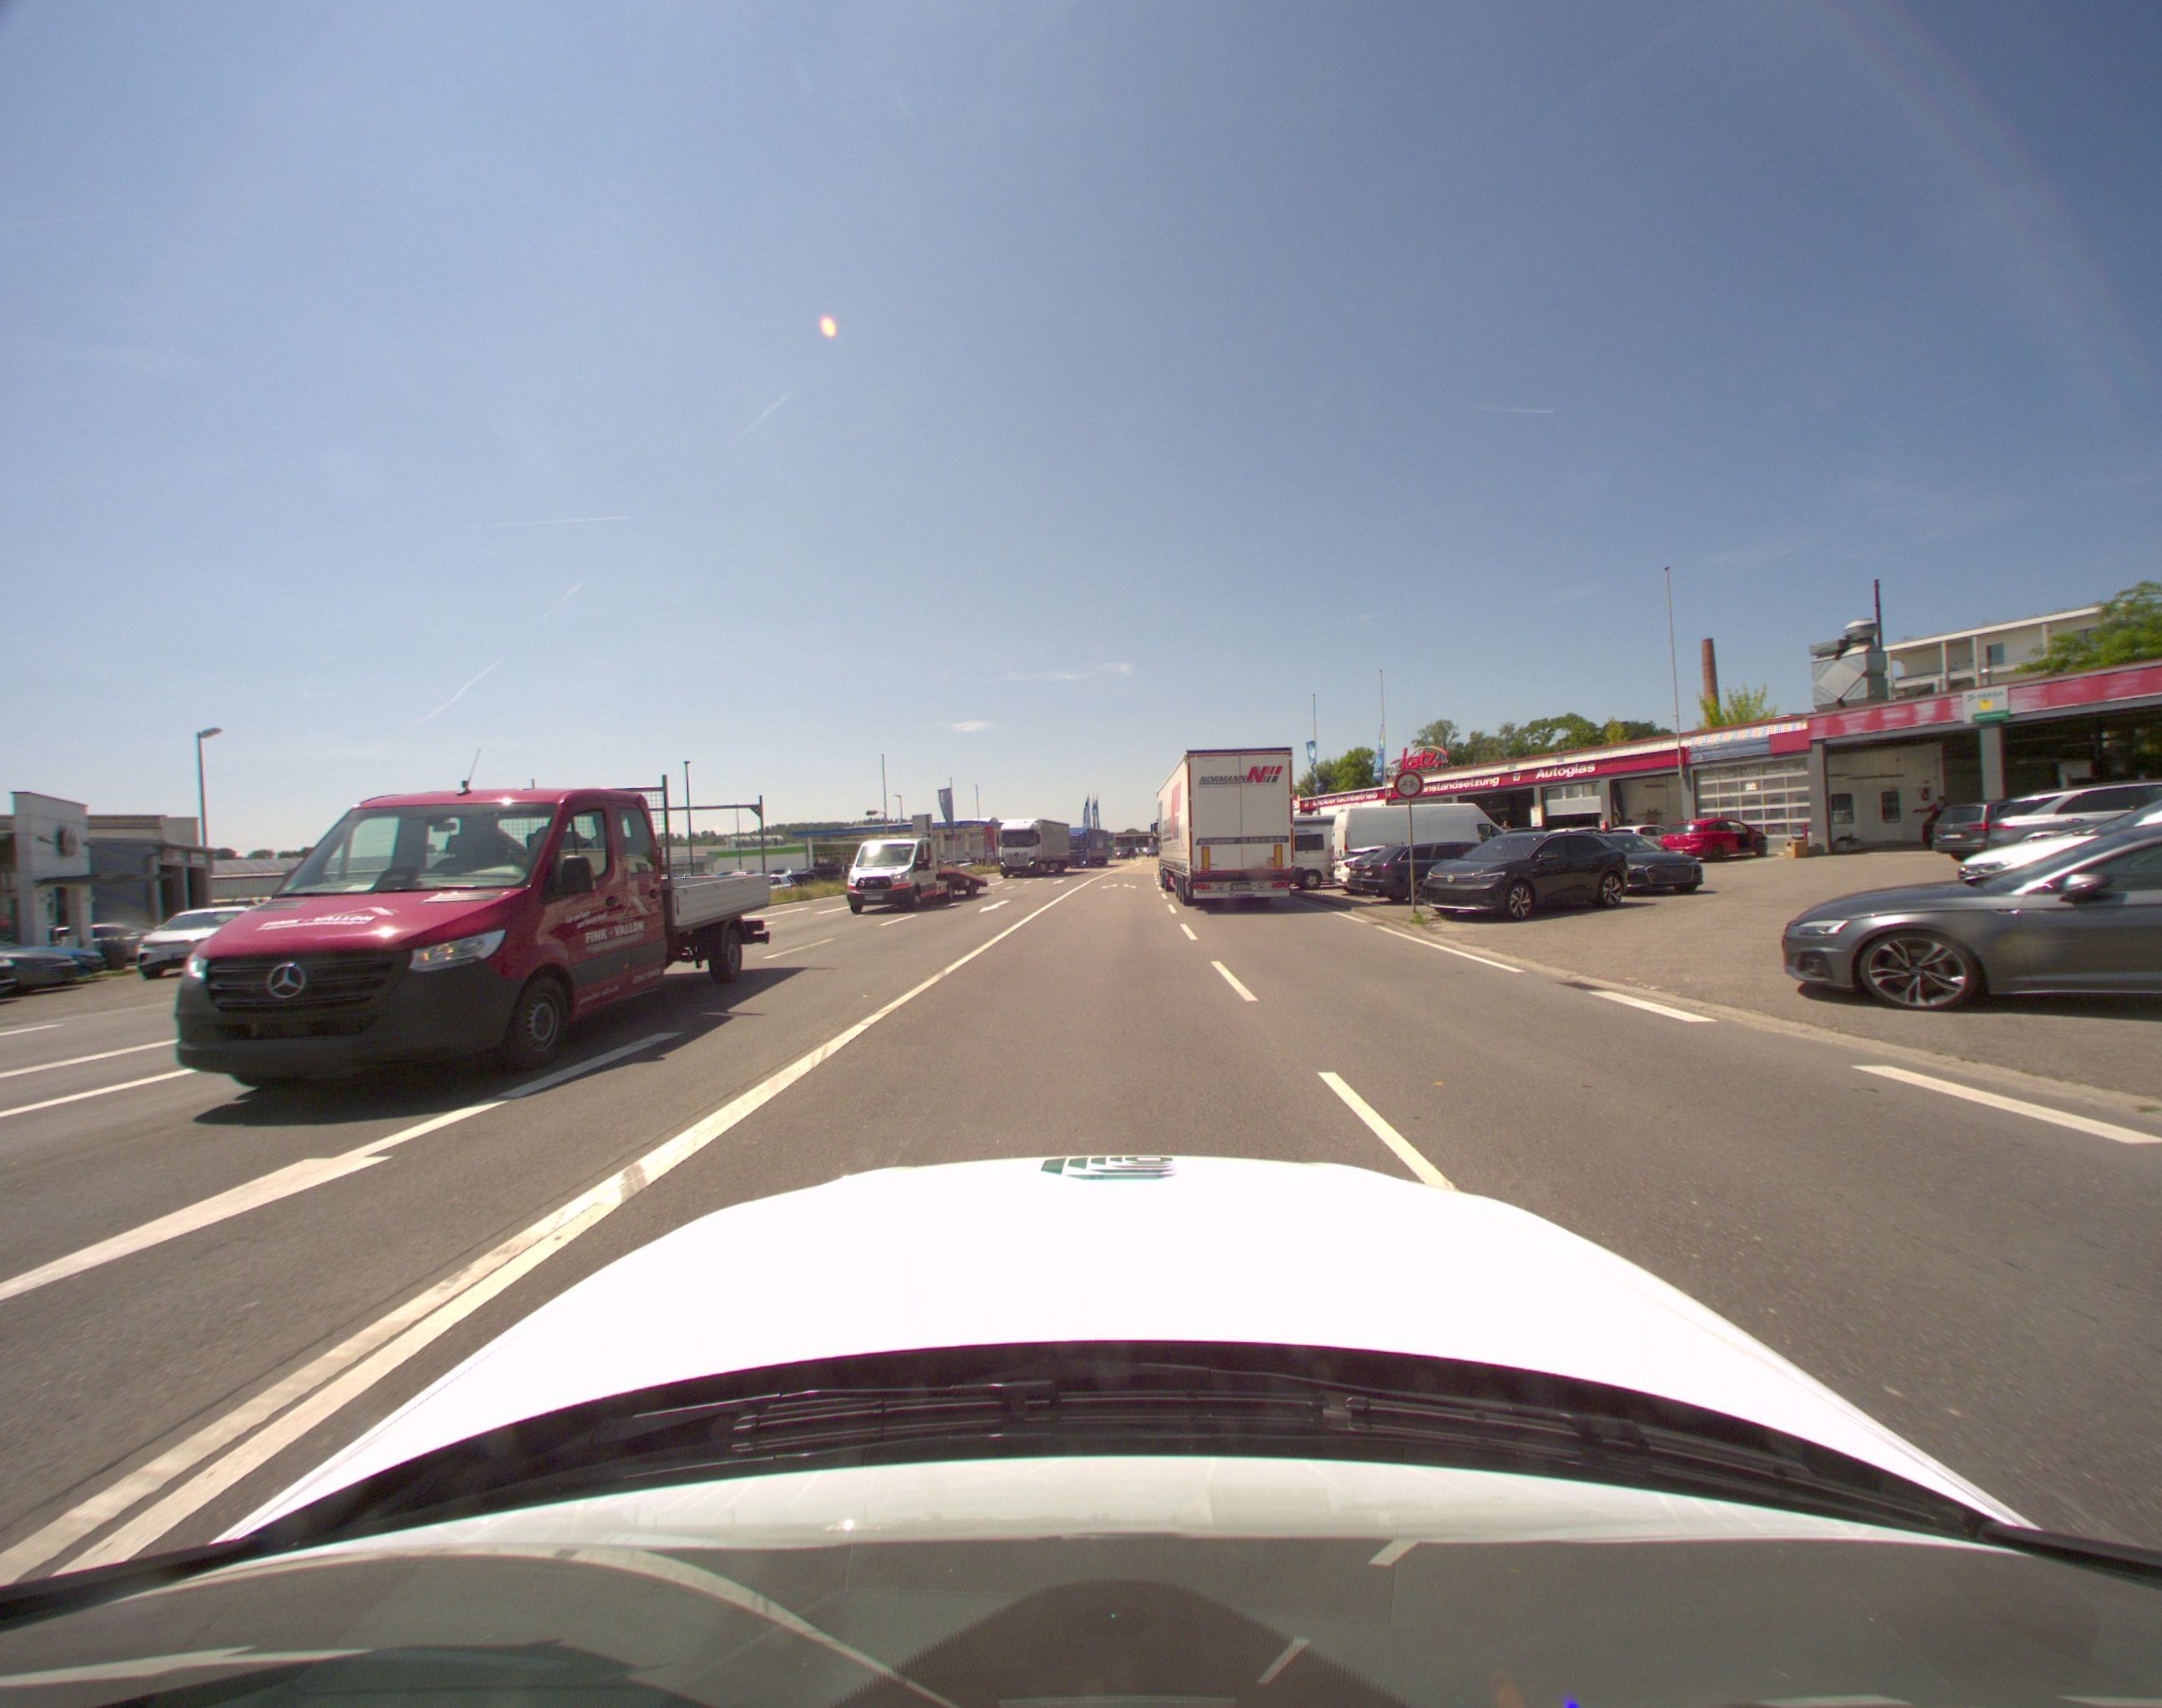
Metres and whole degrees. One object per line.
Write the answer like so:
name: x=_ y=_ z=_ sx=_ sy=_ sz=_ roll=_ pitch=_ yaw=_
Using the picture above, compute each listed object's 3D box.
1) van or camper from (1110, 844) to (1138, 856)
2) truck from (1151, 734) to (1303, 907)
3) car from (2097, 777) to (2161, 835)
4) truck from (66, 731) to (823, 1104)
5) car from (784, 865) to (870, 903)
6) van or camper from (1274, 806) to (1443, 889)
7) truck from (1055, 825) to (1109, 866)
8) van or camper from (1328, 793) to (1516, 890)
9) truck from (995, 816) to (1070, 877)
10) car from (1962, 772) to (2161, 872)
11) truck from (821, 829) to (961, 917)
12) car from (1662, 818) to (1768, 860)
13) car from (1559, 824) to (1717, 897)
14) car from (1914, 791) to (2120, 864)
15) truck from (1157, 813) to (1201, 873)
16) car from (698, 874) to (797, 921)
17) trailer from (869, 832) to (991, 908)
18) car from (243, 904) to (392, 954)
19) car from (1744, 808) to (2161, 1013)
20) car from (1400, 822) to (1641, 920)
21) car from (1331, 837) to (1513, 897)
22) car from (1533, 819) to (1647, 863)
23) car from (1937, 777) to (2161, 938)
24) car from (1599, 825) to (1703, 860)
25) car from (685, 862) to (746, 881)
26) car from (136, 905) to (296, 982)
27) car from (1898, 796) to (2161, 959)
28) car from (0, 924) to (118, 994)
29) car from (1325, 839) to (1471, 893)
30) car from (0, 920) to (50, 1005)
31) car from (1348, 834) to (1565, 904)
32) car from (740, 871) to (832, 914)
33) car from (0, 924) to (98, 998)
van or camper: x=7.785 y=-0.713 z=146.566 sx=4.815 sy=1.905 sz=1.910 roll=-1 pitch=-1 yaw=11
truck: x=4.250 y=-0.796 z=28.342 sx=2.961 sy=4.093 sz=17.648 roll=-1 pitch=0 yaw=3
car: x=32.901 y=-1.477 z=24.275 sx=3.996 sy=1.618 sz=1.903 roll=-2 pitch=0 yaw=-17
truck: x=-5.374 y=0.455 z=8.854 sx=2.385 sy=2.444 sz=6.881 roll=-1 pitch=0 yaw=5
car: x=-13.091 y=1.530 z=41.974 sx=3.878 sy=1.686 sz=1.784 roll=-3 pitch=0 yaw=-28
van or camper: x=10.069 y=-0.238 z=29.962 sx=5.449 sy=2.730 sz=2.235 roll=-2 pitch=0 yaw=5
truck: x=0.388 y=-0.770 z=85.811 sx=2.827 sy=3.889 sz=17.049 roll=-1 pitch=0 yaw=9
van or camper: x=11.336 y=-0.394 z=27.456 sx=5.343 sy=2.905 sz=2.235 roll=-2 pitch=0 yaw=5
truck: x=-3.273 y=-0.459 z=61.230 sx=2.776 sy=3.889 sz=16.512 roll=-1 pitch=0 yaw=6
car: x=21.388 y=-0.710 z=16.747 sx=1.978 sy=1.788 sz=4.103 roll=-4 pitch=-2 yaw=-35
truck: x=-5.800 y=0.525 z=25.821 sx=2.413 sy=2.340 sz=5.684 roll=-4 pitch=0 yaw=6
car: x=23.664 y=-0.549 z=30.400 sx=3.605 sy=1.449 sz=1.664 roll=-2 pitch=0 yaw=-25
car: x=13.690 y=0.133 z=20.342 sx=1.796 sy=1.528 sz=4.399 roll=-3 pitch=0 yaw=14
car: x=26.455 y=-0.781 z=23.141 sx=3.566 sy=1.579 sz=1.683 roll=-6 pitch=4 yaw=10
truck: x=7.126 y=-0.752 z=60.357 sx=2.634 sy=3.806 sz=13.381 roll=-4 pitch=0 yaw=6
car: x=-14.571 y=1.838 z=35.584 sx=3.876 sy=1.750 sz=1.785 roll=-3 pitch=0 yaw=-26
trailer: x=-5.337 y=0.514 z=30.124 sx=2.416 sy=2.338 sz=6.908 roll=-4 pitch=0 yaw=6
car: x=-28.907 y=2.798 z=31.013 sx=4.022 sy=1.462 sz=1.877 roll=-3 pitch=0 yaw=-42
car: x=8.385 y=0.355 z=6.173 sx=1.939 sy=1.387 sz=4.875 roll=-4 pitch=-2 yaw=-41
car: x=8.915 y=0.299 z=16.527 sx=4.347 sy=1.624 sz=2.045 roll=-3 pitch=0 yaw=-25
car: x=9.572 y=0.352 z=23.153 sx=4.311 sy=1.499 sz=2.081 roll=-2 pitch=0 yaw=0
car: x=22.155 y=-0.554 z=35.517 sx=3.990 sy=1.574 sz=1.848 roll=-5 pitch=0 yaw=-12
car: x=12.534 y=-0.041 z=8.977 sx=1.864 sy=1.714 sz=4.098 roll=-4 pitch=-2 yaw=-41
car: x=23.028 y=-0.474 z=32.932 sx=3.599 sy=1.374 sz=1.667 roll=-1 pitch=0 yaw=-19
car: x=-29.348 y=1.391 z=65.441 sx=4.174 sy=1.309 sz=1.691 roll=-3 pitch=0 yaw=-14
car: x=-22.724 y=2.262 z=21.625 sx=1.830 sy=1.574 sz=4.629 roll=-3 pitch=0 yaw=-34
car: x=10.560 y=0.139 z=7.481 sx=1.864 sy=1.420 sz=4.116 roll=-4 pitch=-2 yaw=-41
car: x=-25.920 y=2.563 z=18.927 sx=4.191 sy=1.411 sz=1.803 roll=-3 pitch=0 yaw=-37
car: x=9.739 y=0.368 z=25.207 sx=3.795 sy=1.499 sz=1.854 roll=-2 pitch=0 yaw=1
car: x=-22.756 y=2.229 z=15.134 sx=4.014 sy=1.574 sz=1.805 roll=-3 pitch=0 yaw=-32
car: x=9.001 y=0.346 z=19.815 sx=4.311 sy=1.499 sz=2.081 roll=-2 pitch=0 yaw=0
car: x=-14.138 y=1.793 z=39.060 sx=3.878 sy=1.750 sz=1.784 roll=-3 pitch=0 yaw=-28
car: x=-24.226 y=2.417 z=17.110 sx=4.191 sy=1.411 sz=1.803 roll=-3 pitch=0 yaw=-37
